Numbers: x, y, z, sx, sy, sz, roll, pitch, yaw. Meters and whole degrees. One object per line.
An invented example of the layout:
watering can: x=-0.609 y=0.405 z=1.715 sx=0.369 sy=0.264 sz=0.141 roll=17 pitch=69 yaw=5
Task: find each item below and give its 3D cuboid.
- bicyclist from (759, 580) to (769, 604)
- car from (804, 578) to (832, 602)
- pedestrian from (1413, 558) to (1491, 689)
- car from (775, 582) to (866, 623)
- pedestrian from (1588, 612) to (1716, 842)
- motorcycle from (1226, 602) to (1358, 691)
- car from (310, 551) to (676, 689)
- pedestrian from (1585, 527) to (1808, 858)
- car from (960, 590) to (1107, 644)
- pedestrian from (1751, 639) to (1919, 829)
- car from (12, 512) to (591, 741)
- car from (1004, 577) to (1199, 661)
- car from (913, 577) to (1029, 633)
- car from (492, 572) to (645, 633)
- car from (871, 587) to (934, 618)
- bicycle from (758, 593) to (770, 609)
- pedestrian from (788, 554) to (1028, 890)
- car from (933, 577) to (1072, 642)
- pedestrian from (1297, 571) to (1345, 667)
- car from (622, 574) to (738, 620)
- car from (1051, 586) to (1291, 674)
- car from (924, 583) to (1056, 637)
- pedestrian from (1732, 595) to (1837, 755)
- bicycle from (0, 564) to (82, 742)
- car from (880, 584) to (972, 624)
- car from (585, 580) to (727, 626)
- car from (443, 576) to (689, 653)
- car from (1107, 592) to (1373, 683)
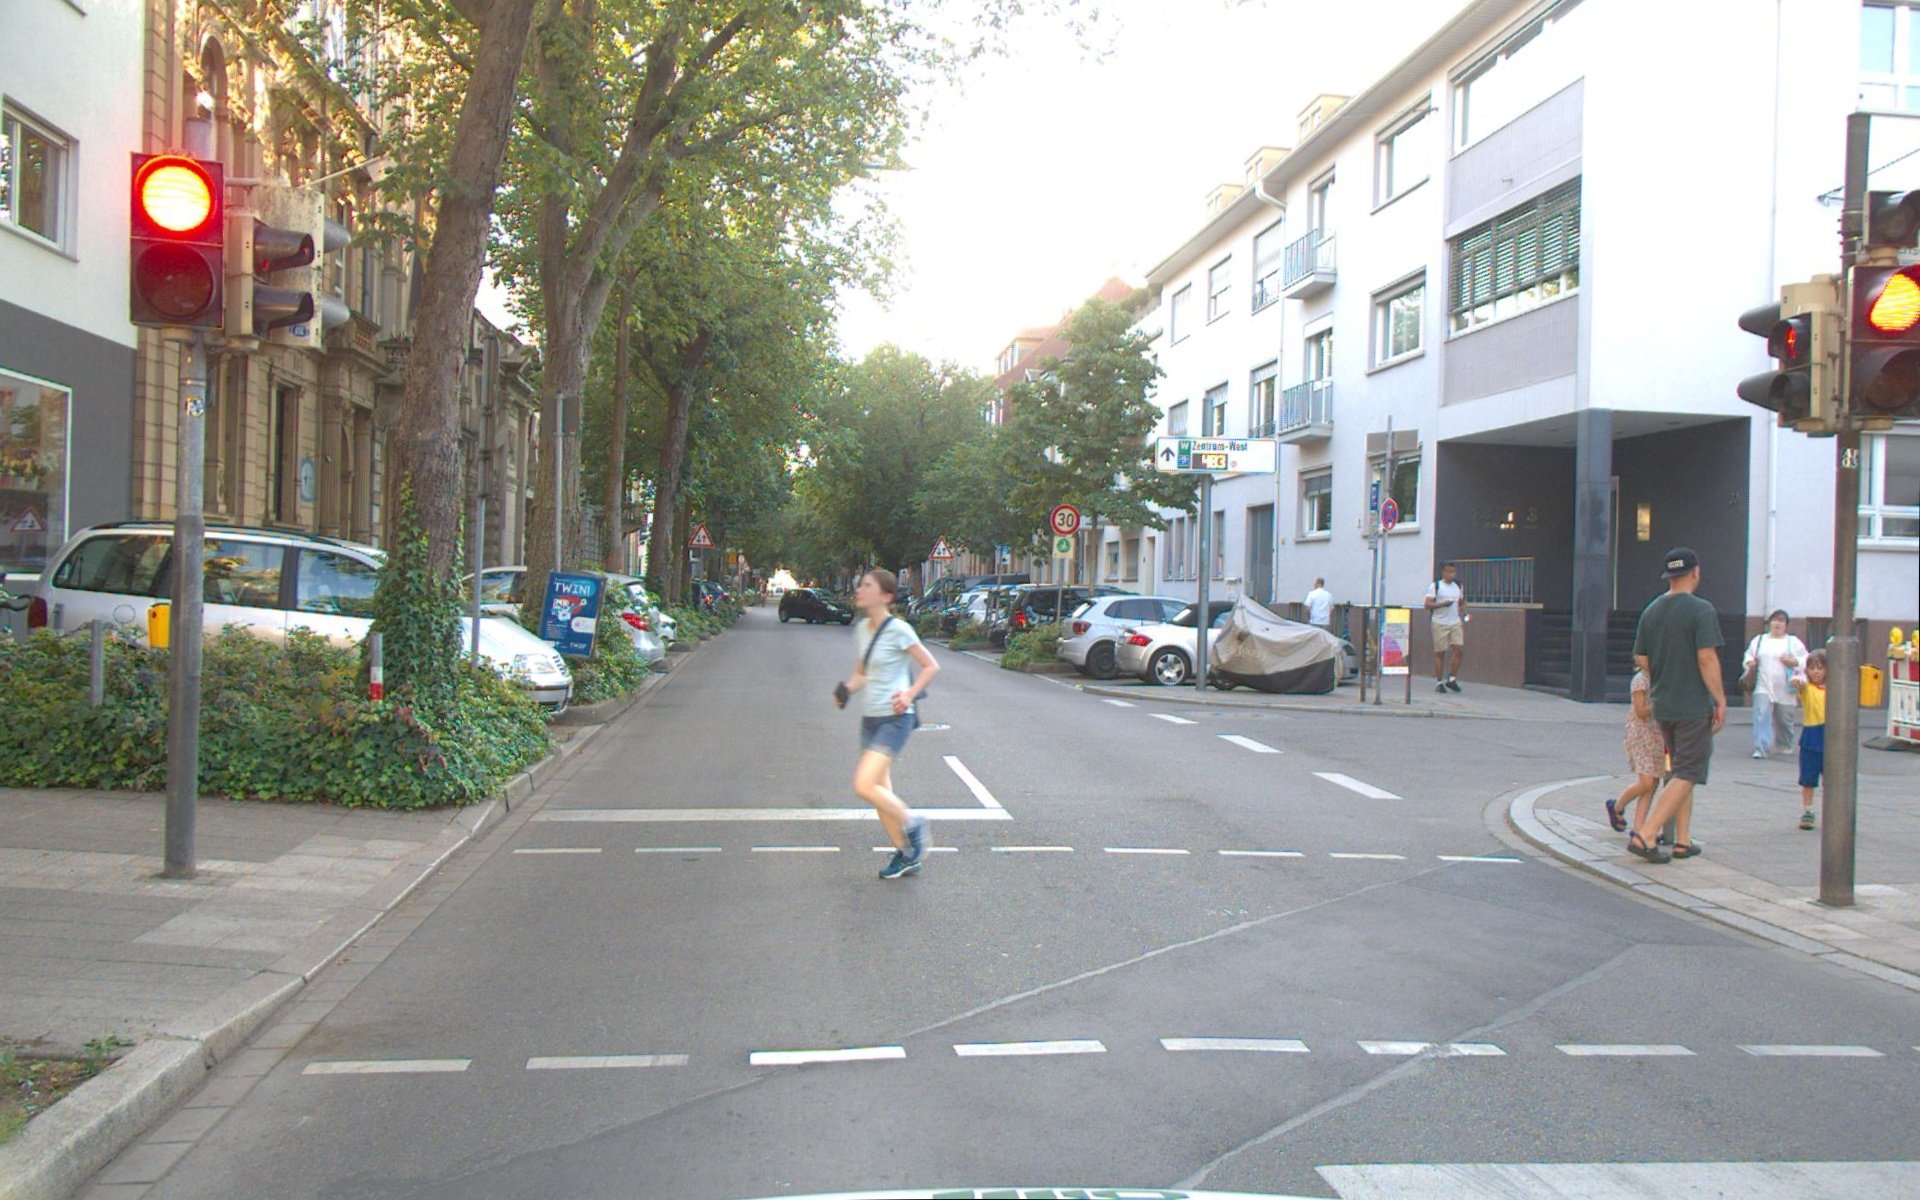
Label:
bicyclist: x=-12.559 y=-0.532 z=106.128 sx=0.561 sy=1.495 sz=0.641 roll=2 pitch=-1 yaw=-12
car: x=-10.103 y=-0.692 z=117.242 sx=1.790 sy=1.589 sz=4.021 roll=3 pitch=0 yaw=-7
pedestrian: x=7.245 y=0.339 z=24.406 sx=0.752 sy=1.873 sz=0.942 roll=2 pitch=0 yaw=-6
car: x=-6.111 y=0.103 z=72.398 sx=1.895 sy=1.605 sz=3.927 roll=2 pitch=0 yaw=-44
pedestrian: x=4.257 y=0.767 z=10.199 sx=0.528 sy=1.359 sz=0.506 roll=2 pitch=0 yaw=-1
motorcycle: x=4.734 y=0.655 z=23.632 sx=1.762 sy=1.220 sz=0.613 roll=1 pitch=0 yaw=3
car: x=-6.176 y=0.258 z=22.330 sx=4.460 sy=1.718 sz=1.831 roll=1 pitch=0 yaw=-6
pedestrian: x=4.294 y=0.519 z=9.696 sx=0.871 sy=1.847 sz=0.793 roll=2 pitch=0 yaw=-7
car: x=2.051 y=0.469 z=46.935 sx=3.937 sy=1.434 sz=1.704 roll=1 pitch=0 yaw=-7
pedestrian: x=5.694 y=0.849 z=10.790 sx=0.556 sy=1.140 sz=0.834 roll=0 pitch=1 yaw=-16
car: x=-5.669 y=0.240 z=14.798 sx=4.464 sy=1.867 sz=1.829 roll=1 pitch=0 yaw=-9
car: x=3.016 y=0.406 z=35.712 sx=3.937 sy=1.720 sz=1.704 roll=1 pitch=0 yaw=-7
car: x=0.373 y=0.182 z=59.250 sx=3.937 sy=1.862 sz=1.704 roll=2 pitch=0 yaw=-7
car: x=-10.950 y=0.065 z=46.478 sx=3.961 sy=1.618 sz=1.831 roll=1 pitch=0 yaw=-6
car: x=-3.732 y=0.182 z=106.718 sx=3.937 sy=1.862 sz=1.704 roll=2 pitch=0 yaw=-7
bicycle: x=-12.573 y=0.068 z=106.107 sx=0.561 sy=0.966 sz=1.739 roll=2 pitch=-1 yaw=-12
pedestrian: x=-0.261 y=0.579 z=8.418 sx=0.971 sy=1.584 sz=0.691 roll=1 pitch=1 yaw=-42
car: x=1.233 y=0.264 z=49.156 sx=3.937 sy=1.847 sz=1.704 roll=1 pitch=0 yaw=-7
pedestrian: x=6.883 y=0.351 z=31.554 sx=0.690 sy=1.782 sz=0.699 roll=2 pitch=0 yaw=-2
car: x=-11.335 y=-0.108 z=67.102 sx=4.460 sy=1.721 sz=1.831 roll=2 pitch=0 yaw=-6
car: x=3.706 y=0.523 z=29.354 sx=3.937 sy=1.467 sz=1.704 roll=1 pitch=0 yaw=-7
car: x=0.916 y=0.315 z=52.026 sx=3.937 sy=1.556 sz=1.704 roll=2 pitch=0 yaw=-7
pedestrian: x=8.277 y=0.725 z=16.595 sx=0.761 sy=1.527 sz=0.798 roll=2 pitch=1 yaw=38
bicycle: x=-6.913 y=0.355 z=11.162 sx=0.720 sy=1.207 sz=2.631 roll=3 pitch=0 yaw=-5
car: x=-1.537 y=0.174 z=74.102 sx=3.937 sy=1.629 sz=1.704 roll=2 pitch=0 yaw=-7
car: x=-10.049 y=0.102 z=54.862 sx=4.460 sy=1.434 sz=1.831 roll=1 pitch=0 yaw=-6
car: x=-7.662 y=0.282 z=32.503 sx=4.460 sy=1.396 sz=1.831 roll=1 pitch=0 yaw=-6
car: x=4.489 y=0.588 z=26.788 sx=3.937 sy=1.366 sz=1.705 roll=1 pitch=0 yaw=-6
